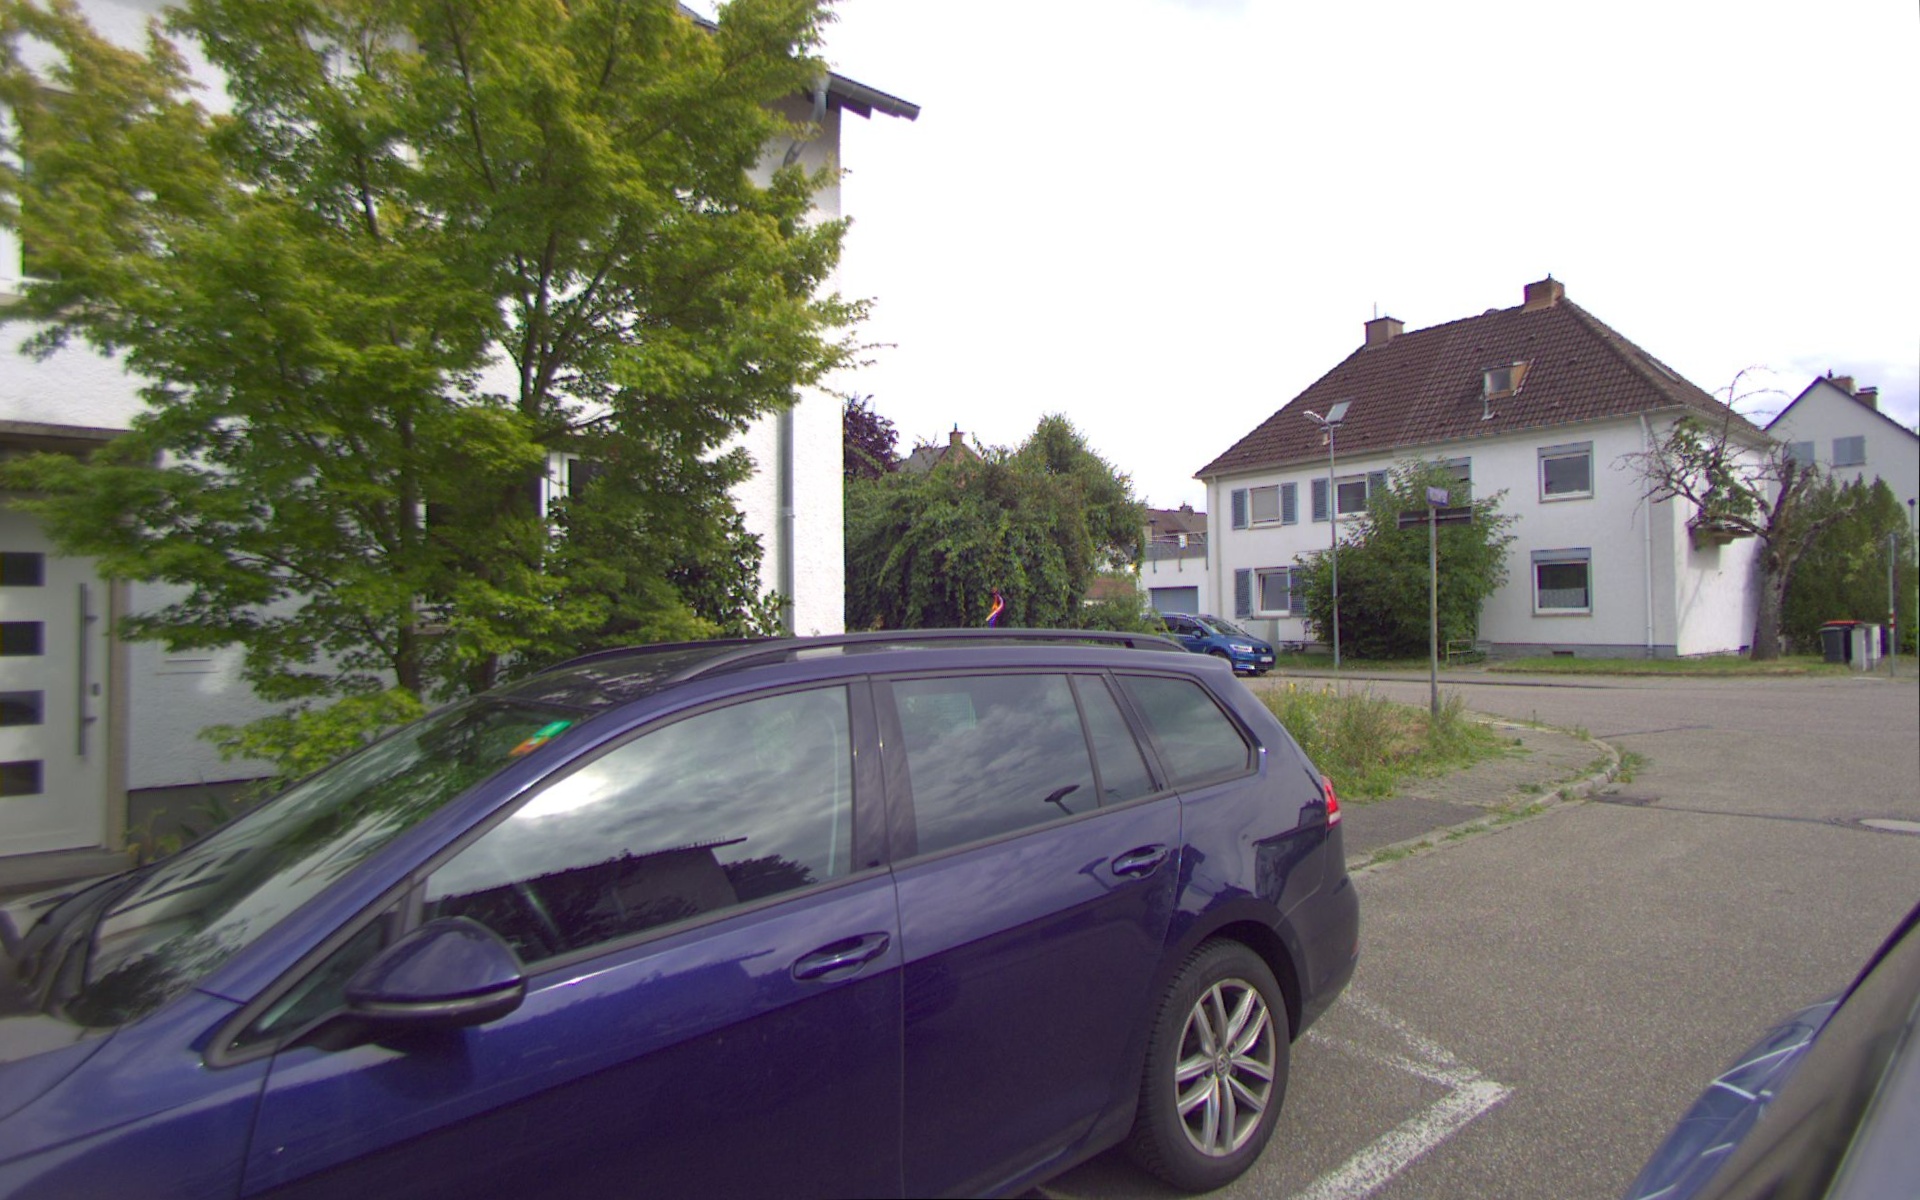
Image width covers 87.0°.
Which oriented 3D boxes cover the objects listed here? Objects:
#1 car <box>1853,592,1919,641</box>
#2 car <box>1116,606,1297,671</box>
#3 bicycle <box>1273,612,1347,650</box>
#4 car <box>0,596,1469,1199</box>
[{"bbox_3d":[35.145,0.579,36.561,1.963,1.728,3.997,0,-1,-37],"label":"car"},{"bbox_3d":[6.554,1.000,27.399,1.963,1.590,4.543,0,-1,-37],"label":"car"},{"bbox_3d":[10.754,0.945,31.164,0.562,1.149,2.169,0,-1,-38],"label":"bicycle"},{"bbox_3d":[-0.783,0.746,2.583,4.762,1.458,1.872,0,-1,-38],"label":"car"}]
